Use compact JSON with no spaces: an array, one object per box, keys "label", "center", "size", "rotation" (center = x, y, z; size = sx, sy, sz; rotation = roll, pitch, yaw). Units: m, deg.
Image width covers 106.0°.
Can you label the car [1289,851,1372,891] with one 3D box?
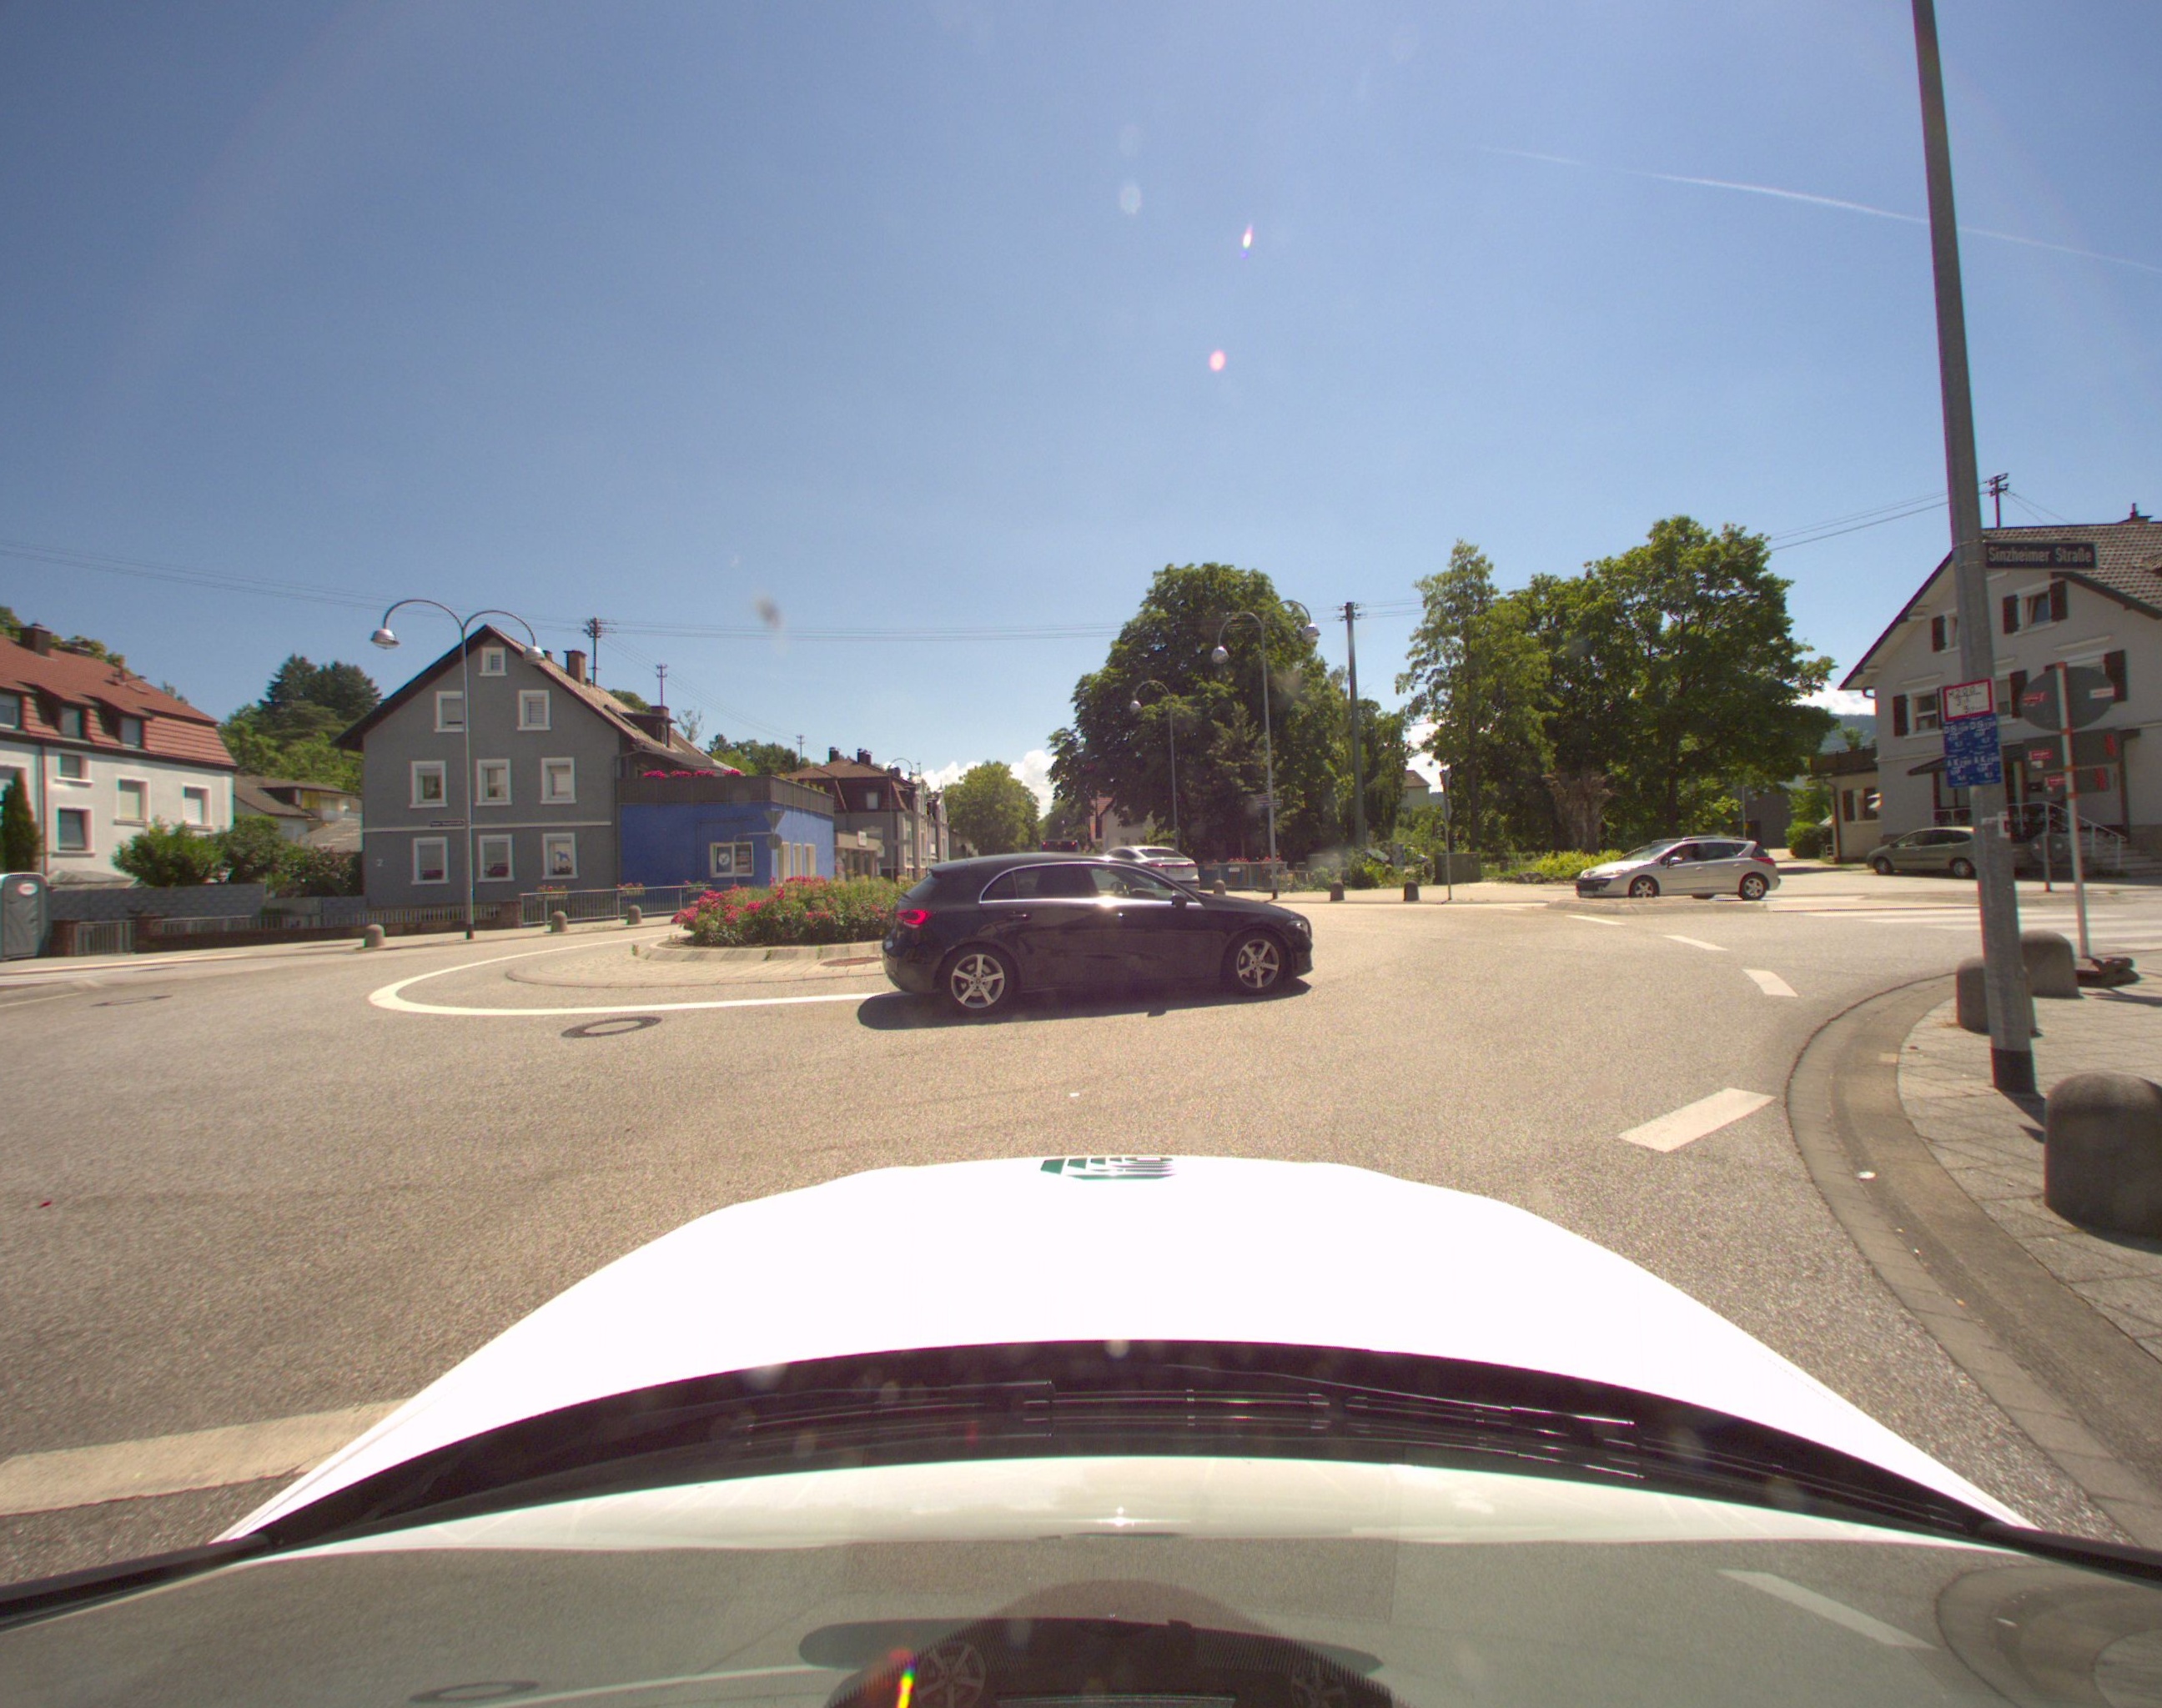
[{"label":"car","center":[10.919,0.738,35.743],"size":[3.054,1.552,1.626],"rotation":[-3,0,-15]}]

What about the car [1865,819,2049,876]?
[{"label":"car","center":[28.425,-0.184,26.632],"size":[1.745,1.640,4.002],"rotation":[-2,0,2]}]

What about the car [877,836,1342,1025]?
[{"label":"car","center":[0.237,0.616,8.358],"size":[4.434,1.457,1.759],"rotation":[-2,2,-17]}]

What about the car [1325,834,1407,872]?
[{"label":"car","center":[16.343,-0.013,46.841],"size":[2.011,2.013,3.952],"rotation":[-2,-1,-41]}]

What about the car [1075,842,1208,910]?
[{"label":"car","center":[1.576,0.598,22.921],"size":[1.906,1.662,4.375],"rotation":[-2,-1,-23]}]

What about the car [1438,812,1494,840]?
[{"label":"car","center":[31.116,-2.253,65.827],"size":[3.950,2.013,2.012],"rotation":[-3,0,25]}]

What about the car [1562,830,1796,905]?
[{"label":"car","center":[13.961,0.315,19.180],"size":[4.180,1.516,1.746],"rotation":[-2,-1,0]}]

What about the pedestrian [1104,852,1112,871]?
[{"label":"pedestrian","center":[2.154,0.590,65.387],"size":[0.488,1.522,0.541],"rotation":[-2,-1,-7]}]

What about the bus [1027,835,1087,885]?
[{"label":"bus","center":[-1.482,0.516,61.352],"size":[3.694,3.171,18.067],"rotation":[-1,-1,1]}]
